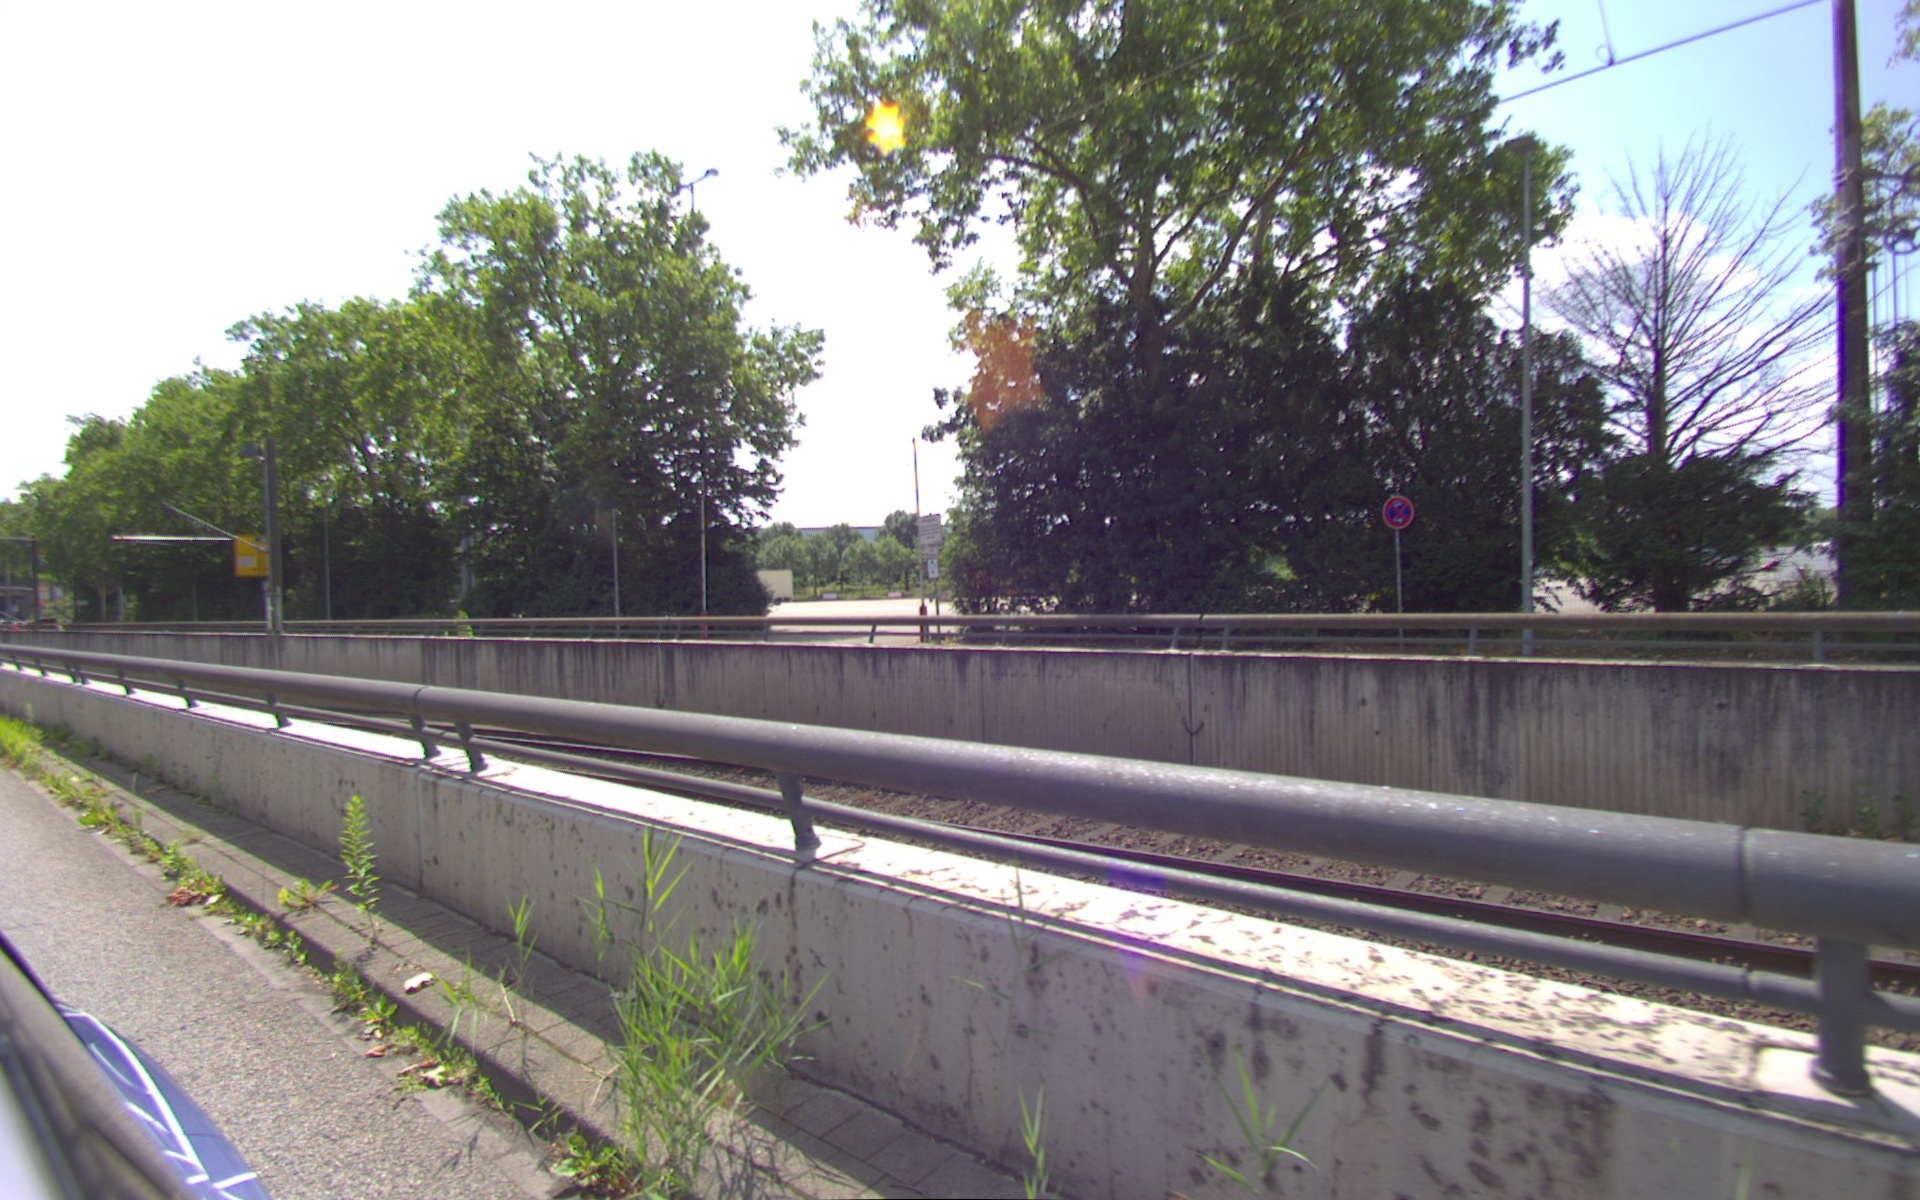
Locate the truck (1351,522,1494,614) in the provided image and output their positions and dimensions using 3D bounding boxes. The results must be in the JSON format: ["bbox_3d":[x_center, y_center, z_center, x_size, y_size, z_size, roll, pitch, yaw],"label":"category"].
[{"bbox_3d":[23.398,-1.412,50.649,2.748,4.105,12.650,-1,-1,42],"label":"truck"}]

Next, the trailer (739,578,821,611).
[{"bbox_3d":[-20.206,-0.619,113.790,8.763,3.525,2.869,0,-1,-2],"label":"trailer"}]
